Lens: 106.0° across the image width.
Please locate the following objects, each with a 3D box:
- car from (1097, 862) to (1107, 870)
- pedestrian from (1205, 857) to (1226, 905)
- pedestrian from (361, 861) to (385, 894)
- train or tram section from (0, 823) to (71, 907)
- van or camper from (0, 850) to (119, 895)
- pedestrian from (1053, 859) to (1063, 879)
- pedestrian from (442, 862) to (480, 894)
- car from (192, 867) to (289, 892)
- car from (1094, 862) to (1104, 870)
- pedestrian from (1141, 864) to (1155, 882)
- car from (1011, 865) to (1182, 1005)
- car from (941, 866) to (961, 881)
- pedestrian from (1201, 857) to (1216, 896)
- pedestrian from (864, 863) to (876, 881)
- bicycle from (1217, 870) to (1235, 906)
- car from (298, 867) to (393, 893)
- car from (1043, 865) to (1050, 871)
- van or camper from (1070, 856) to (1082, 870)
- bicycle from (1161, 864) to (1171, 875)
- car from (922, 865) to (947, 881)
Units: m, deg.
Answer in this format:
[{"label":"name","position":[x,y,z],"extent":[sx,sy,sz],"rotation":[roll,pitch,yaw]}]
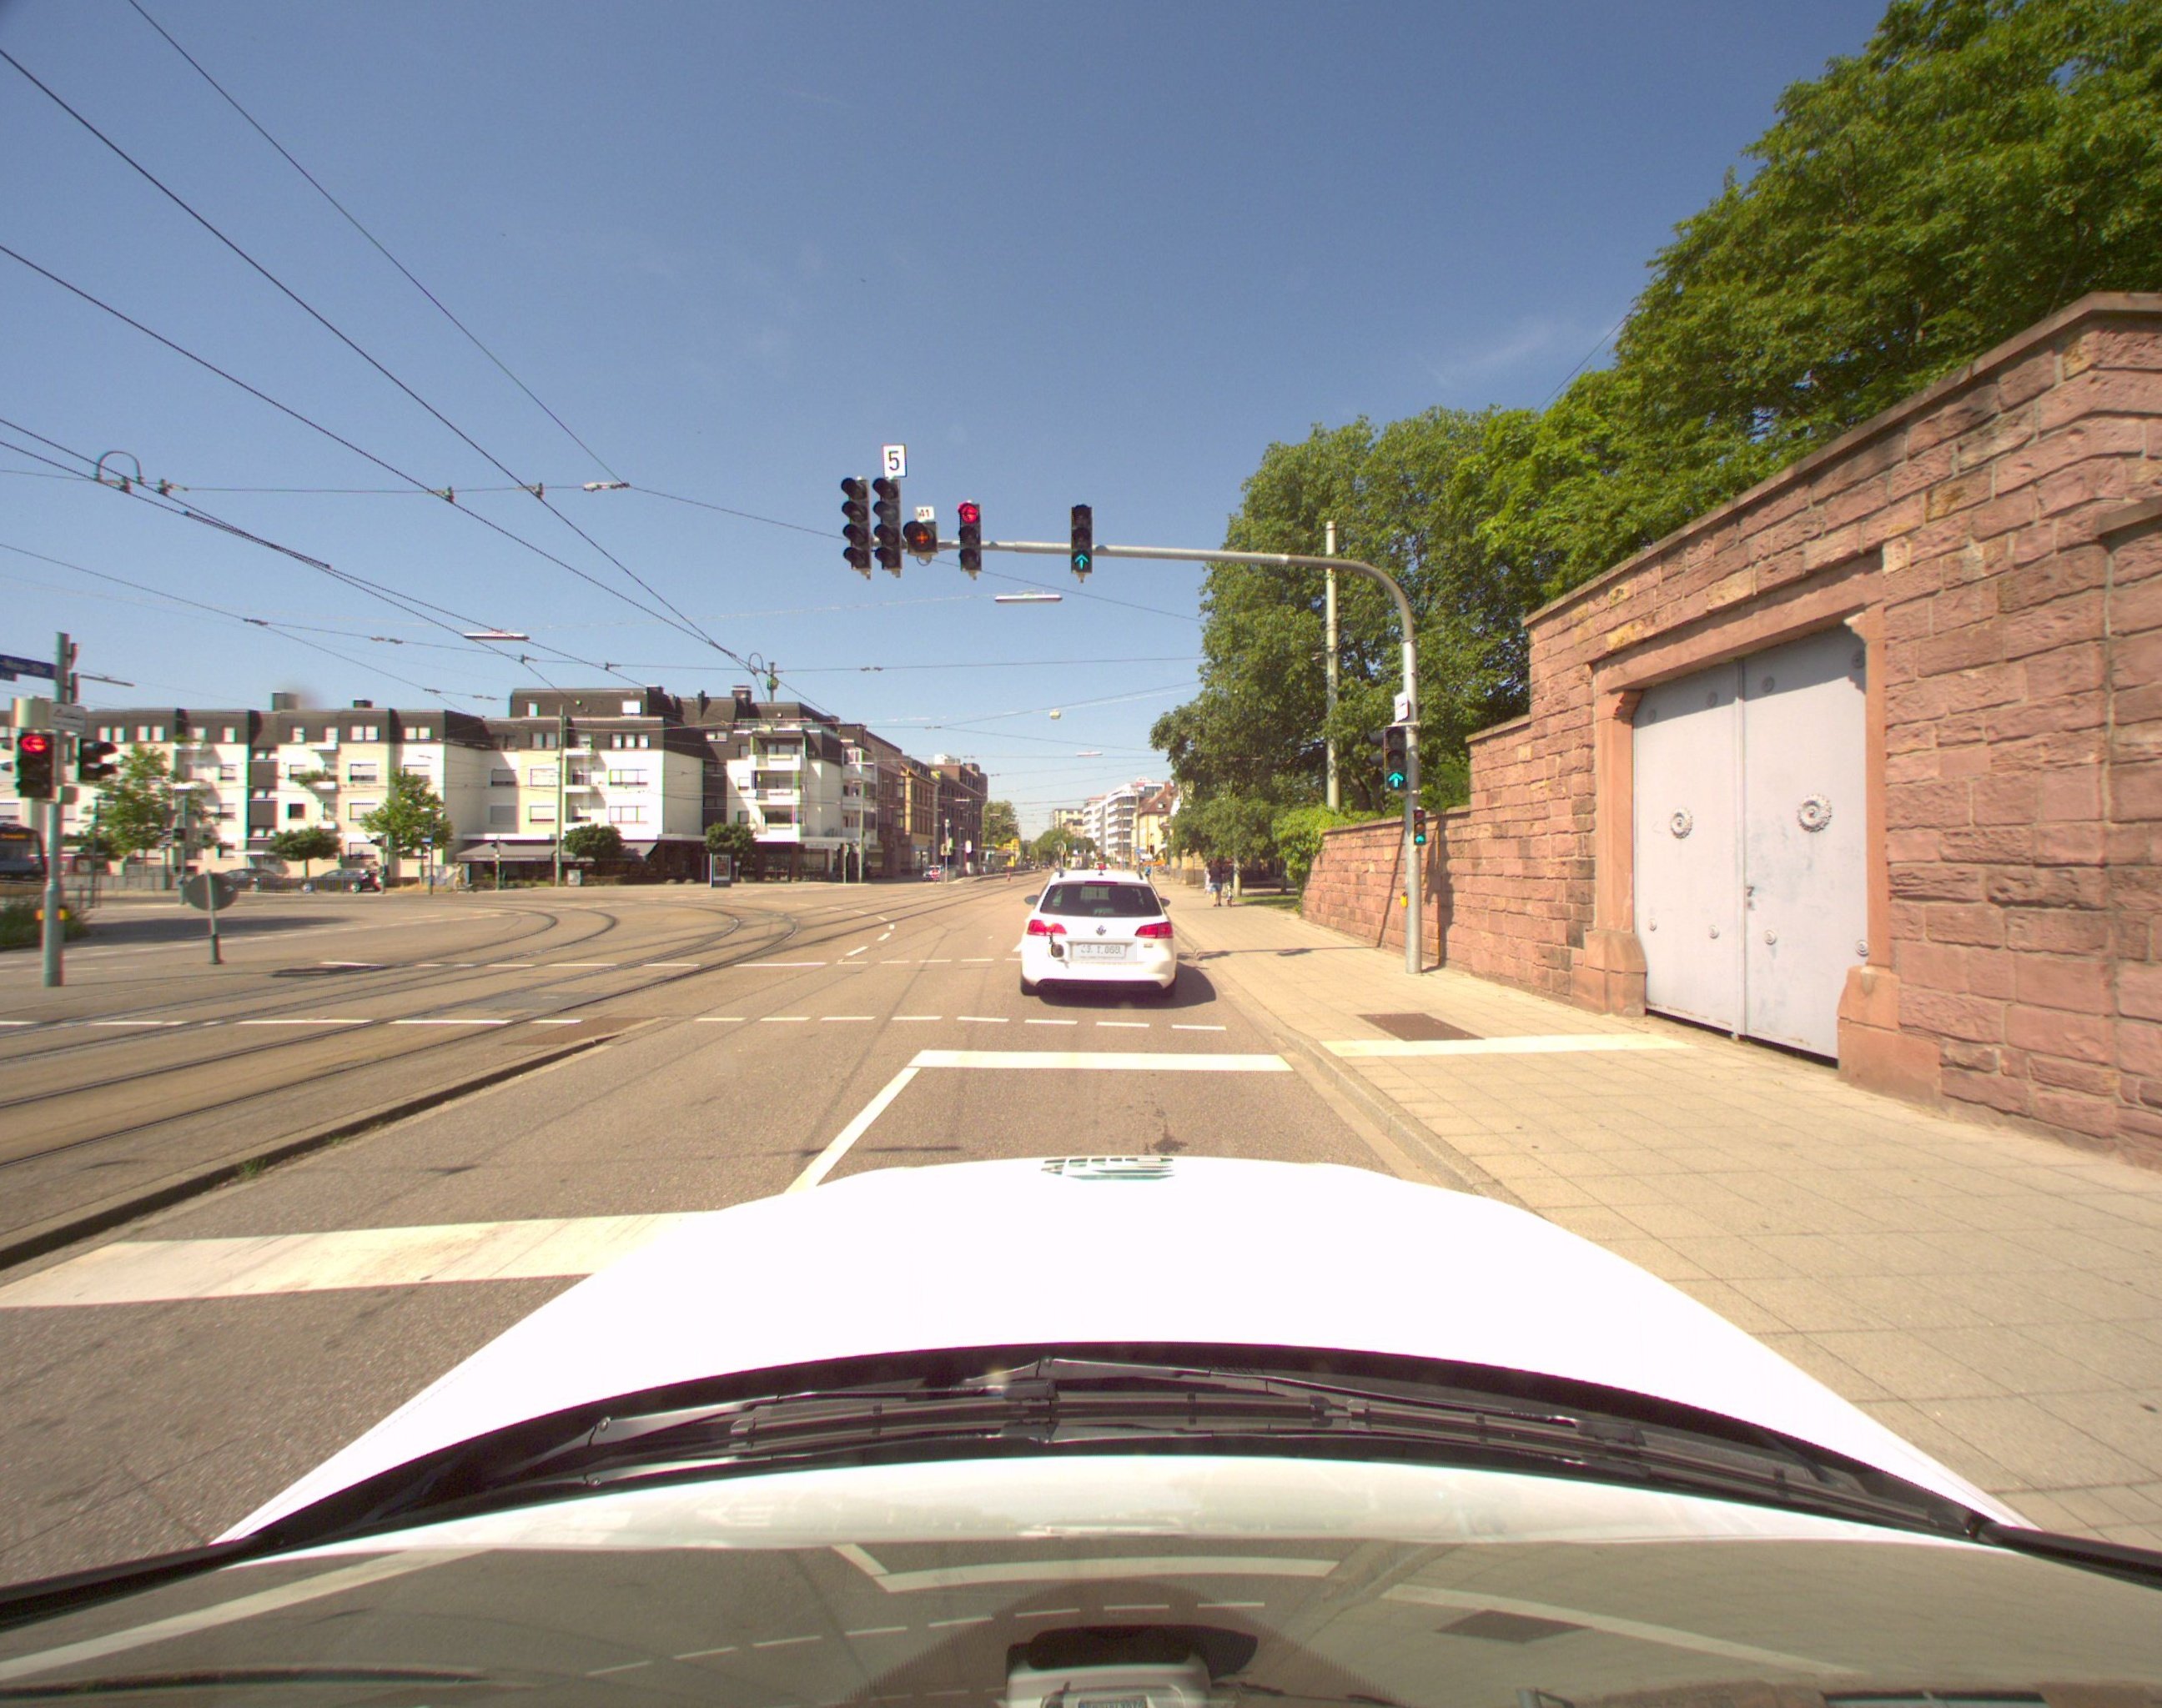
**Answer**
[{"label":"car","position":[4.911,2.768,188.405],"extent":[1.989,2.014,3.995],"rotation":[0,-1,-3]},{"label":"pedestrian","position":[4.451,0.890,26.926],"extent":[0.538,1.549,0.663],"rotation":[-3,-1,1]},{"label":"pedestrian","position":[-37.674,1.233,43.352],"extent":[0.813,1.760,0.757],"rotation":[0,-1,-27]},{"label":"train or tram section","position":[-53.742,0.532,36.395],"extent":[13.814,3.658,2.769],"rotation":[0,-1,1]},{"label":"van or camper","position":[-62.785,1.127,49.876],"extent":[4.859,2.624,2.376],"rotation":[0,-1,0]},{"label":"pedestrian","position":[-2.128,1.354,74.973],"extent":[0.823,1.809,0.834],"rotation":[0,-1,2]},{"label":"pedestrian","position":[-35.388,1.356,46.522],"extent":[1.108,1.836,1.448],"rotation":[-1,-1,35]},{"label":"car","position":[-51.322,1.551,49.795],"extent":[3.973,1.500,1.828],"rotation":[-1,-1,0]},{"label":"car","position":[4.308,2.850,193.831],"extent":[1.989,2.014,3.995],"rotation":[0,-1,-3]},{"label":"pedestrian","position":[5.642,1.605,68.418],"extent":[0.847,1.510,0.786],"rotation":[-1,-1,30]},{"label":"car","position":[0.224,0.856,10.281],"extent":[1.746,1.418,3.854],"rotation":[0,-1,2]},{"label":"car","position":[-13.466,1.986,84.490],"extent":[1.568,1.459,3.811],"rotation":[0,-1,-2]},{"label":"pedestrian","position":[5.562,0.961,35.470],"extent":[0.646,1.682,0.709],"rotation":[-1,-1,9]},{"label":"pedestrian","position":[-18.941,1.630,73.120],"extent":[0.870,1.647,0.685],"rotation":[-1,-1,41]},{"label":"bicycle","position":[4.752,1.098,26.671],"extent":[0.532,1.111,1.812],"rotation":[-1,-1,11]},{"label":"car","position":[-45.054,1.564,49.948],"extent":[4.158,1.500,1.828],"rotation":[0,-1,0]},{"label":"car","position":[-9.165,3.729,216.248],"extent":[1.662,1.466,3.774],"rotation":[0,-1,1]},{"label":"van or camper","position":[-1.187,2.155,192.545],"extent":[2.934,3.180,6.611],"rotation":[0,-1,0]},{"label":"bicycle","position":[8.967,1.593,85.805],"extent":[0.720,1.139,2.203],"rotation":[-1,-1,14]},{"label":"car","position":[-13.806,1.742,76.742],"extent":[1.620,1.431,3.962],"rotation":[1,-1,0]}]
